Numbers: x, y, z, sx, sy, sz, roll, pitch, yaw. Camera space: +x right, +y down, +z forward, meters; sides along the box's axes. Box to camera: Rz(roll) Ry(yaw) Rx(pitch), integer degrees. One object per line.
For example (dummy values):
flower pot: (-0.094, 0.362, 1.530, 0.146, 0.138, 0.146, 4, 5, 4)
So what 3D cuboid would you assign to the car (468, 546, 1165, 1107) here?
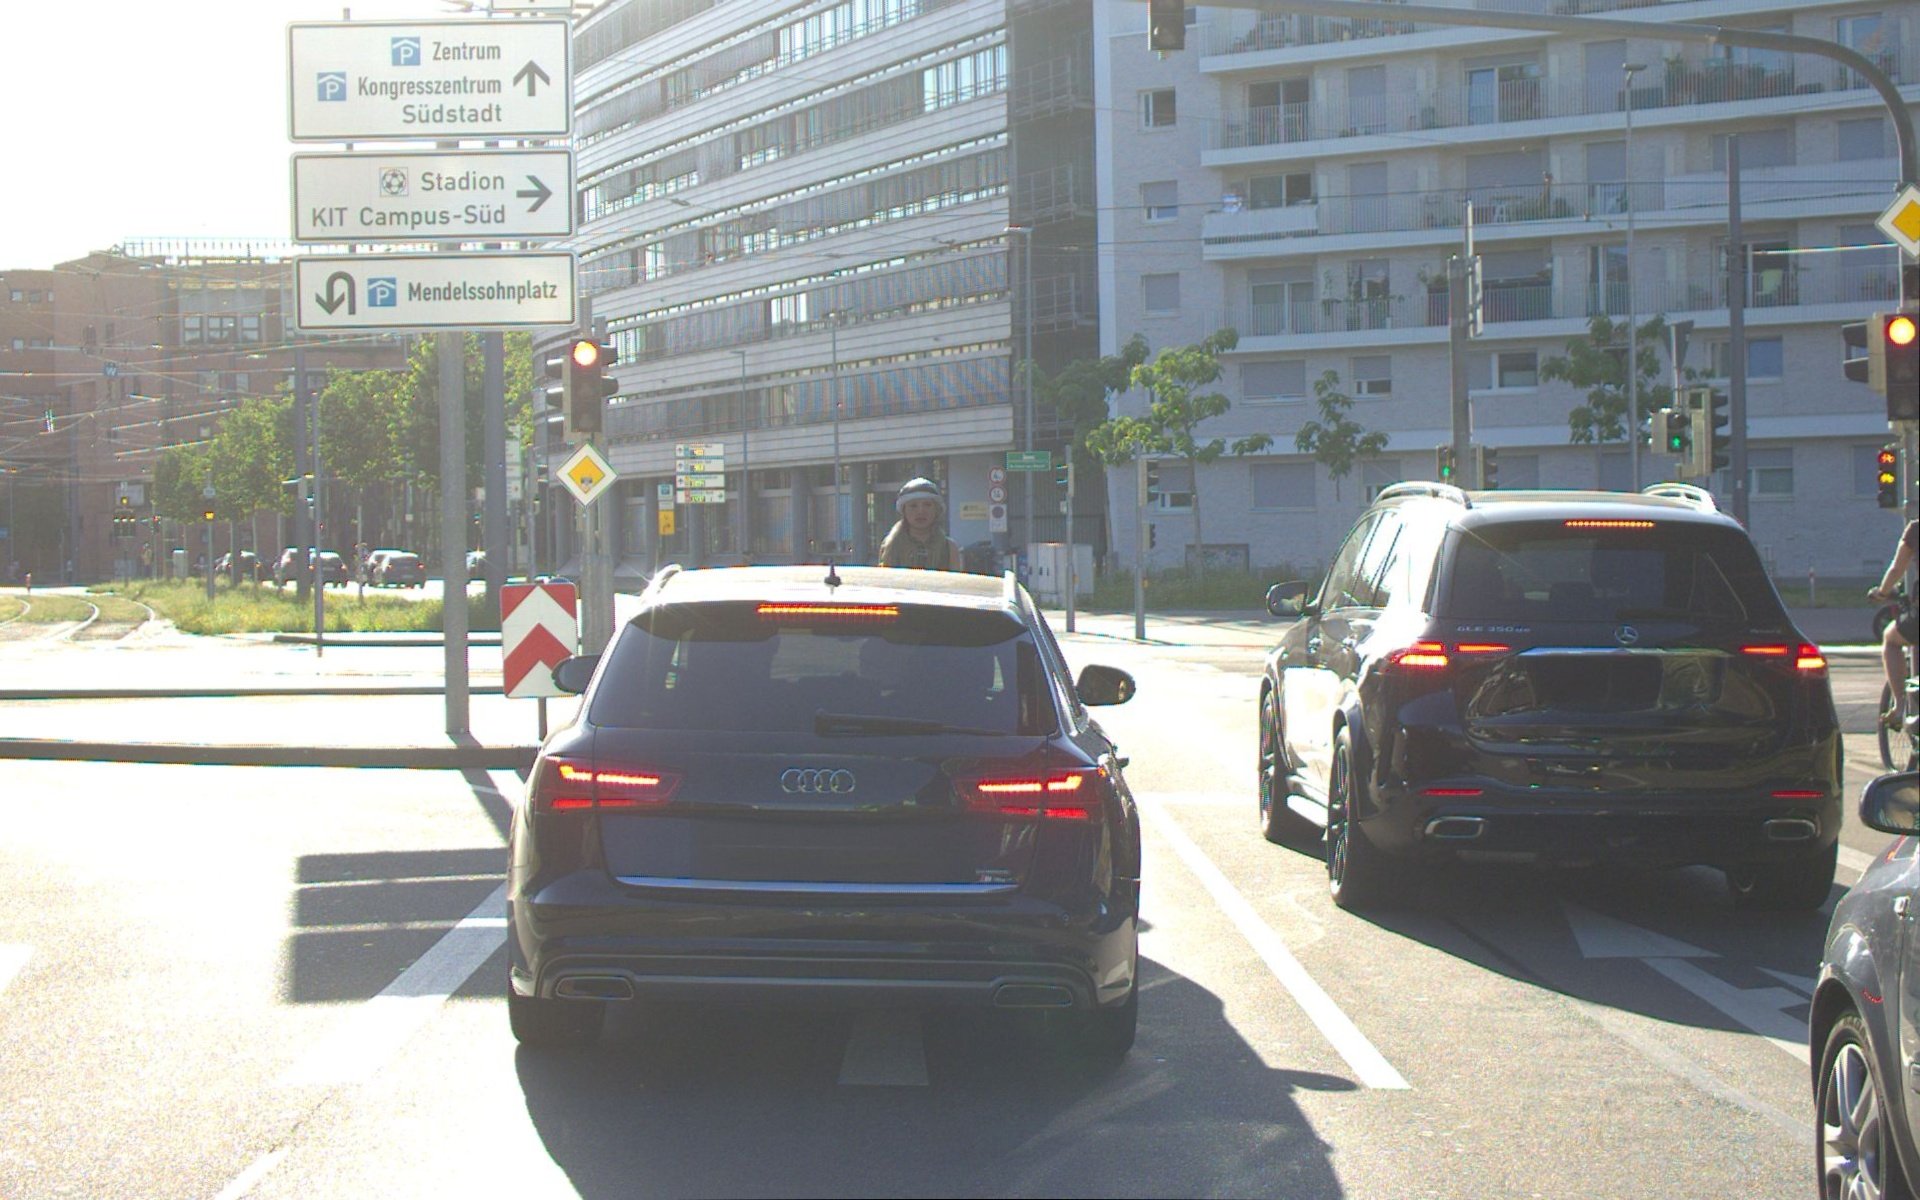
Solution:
car: (-0.412, 0.577, 11.194, 1.842, 1.449, 4.000, 1, 1, -1)

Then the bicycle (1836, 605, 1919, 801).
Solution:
bicycle: (5.696, 0.578, 20.251, 0.654, 1.039, 1.929, -1, 1, 3)

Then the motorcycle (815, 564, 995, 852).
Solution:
motorcycle: (-0.274, 0.516, 17.735, 0.862, 1.388, 1.894, -1, 1, 0)

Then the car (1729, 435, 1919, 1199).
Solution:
car: (2.598, 0.578, 5.445, 1.746, 1.690, 4.261, 1, 1, 0)

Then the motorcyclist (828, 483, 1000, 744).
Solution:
motorcyclist: (-0.237, 0.064, 17.865, 0.862, 1.322, 0.681, -1, 1, 0)

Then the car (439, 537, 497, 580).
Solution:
car: (-22.067, -1.833, 154.128, 1.993, 1.831, 4.001, -2, 0, -16)

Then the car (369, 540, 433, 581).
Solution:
car: (-23.130, -1.615, 142.167, 1.993, 1.590, 4.001, -2, 0, -17)

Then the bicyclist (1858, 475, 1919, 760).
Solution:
bicyclist: (5.728, 0.084, 20.240, 0.654, 1.637, 0.972, -1, 1, 3)

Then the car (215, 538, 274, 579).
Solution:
car: (-31.255, -1.801, 150.086, 1.993, 1.700, 4.001, -2, 0, -18)

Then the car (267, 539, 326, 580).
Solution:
car: (-29.189, -1.764, 151.116, 1.993, 1.700, 4.001, -2, 0, -18)

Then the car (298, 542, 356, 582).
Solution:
car: (-26.624, -1.578, 144.567, 1.993, 1.590, 4.001, -2, 0, -16)

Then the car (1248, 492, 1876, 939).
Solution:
car: (2.517, 0.398, 15.527, 2.003, 1.709, 4.372, 1, 1, -1)

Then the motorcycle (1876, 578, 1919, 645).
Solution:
motorcycle: (15.325, 0.155, 52.267, 2.452, 0.997, 1.172, -1, 1, -3)
